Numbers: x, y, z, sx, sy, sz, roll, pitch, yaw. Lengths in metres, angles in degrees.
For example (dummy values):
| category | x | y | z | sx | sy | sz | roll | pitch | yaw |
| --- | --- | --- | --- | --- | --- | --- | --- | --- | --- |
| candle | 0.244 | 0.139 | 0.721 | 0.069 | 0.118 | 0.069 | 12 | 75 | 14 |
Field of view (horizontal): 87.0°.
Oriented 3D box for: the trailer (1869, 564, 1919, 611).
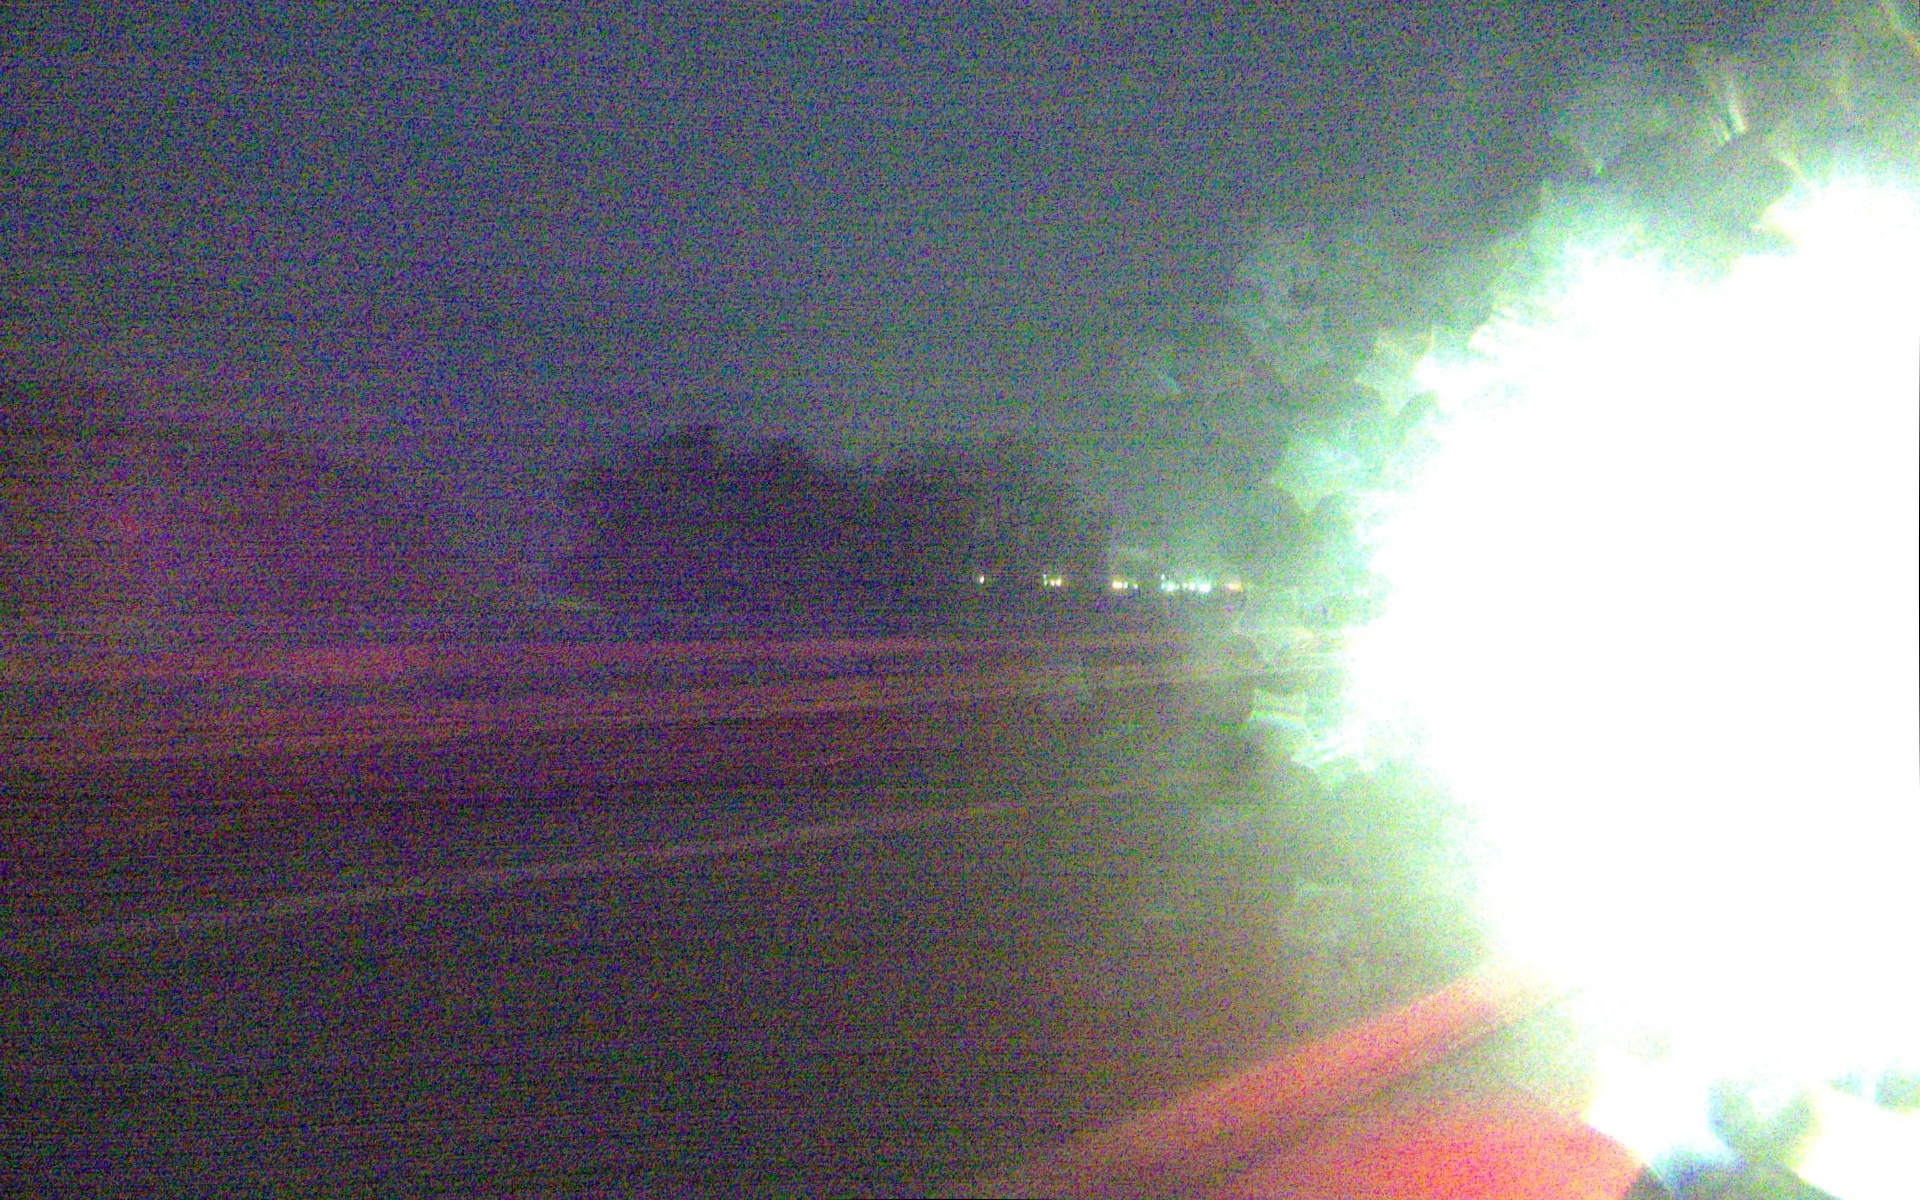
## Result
| category | x | y | z | sx | sy | sz | roll | pitch | yaw |
| --- | --- | --- | --- | --- | --- | --- | --- | --- | --- |
| trailer | 91.586 | -1.099 | 92.382 | 2.487 | 4.390 | 13.739 | -1 | 1 | -14 |

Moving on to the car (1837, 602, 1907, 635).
| category | x | y | z | sx | sy | sz | roll | pitch | yaw |
| --- | --- | --- | --- | --- | --- | --- | --- | --- | --- |
| car | 38.859 | 0.751 | 43.219 | 1.750 | 1.328 | 4.033 | 1 | 0 | 36 |

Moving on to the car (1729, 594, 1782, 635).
| category | x | y | z | sx | sy | sz | roll | pitch | yaw |
| --- | --- | --- | --- | --- | --- | --- | --- | --- | --- |
| car | 34.472 | 0.606 | 43.918 | 1.733 | 1.705 | 4.063 | 0 | -1 | 38 |
